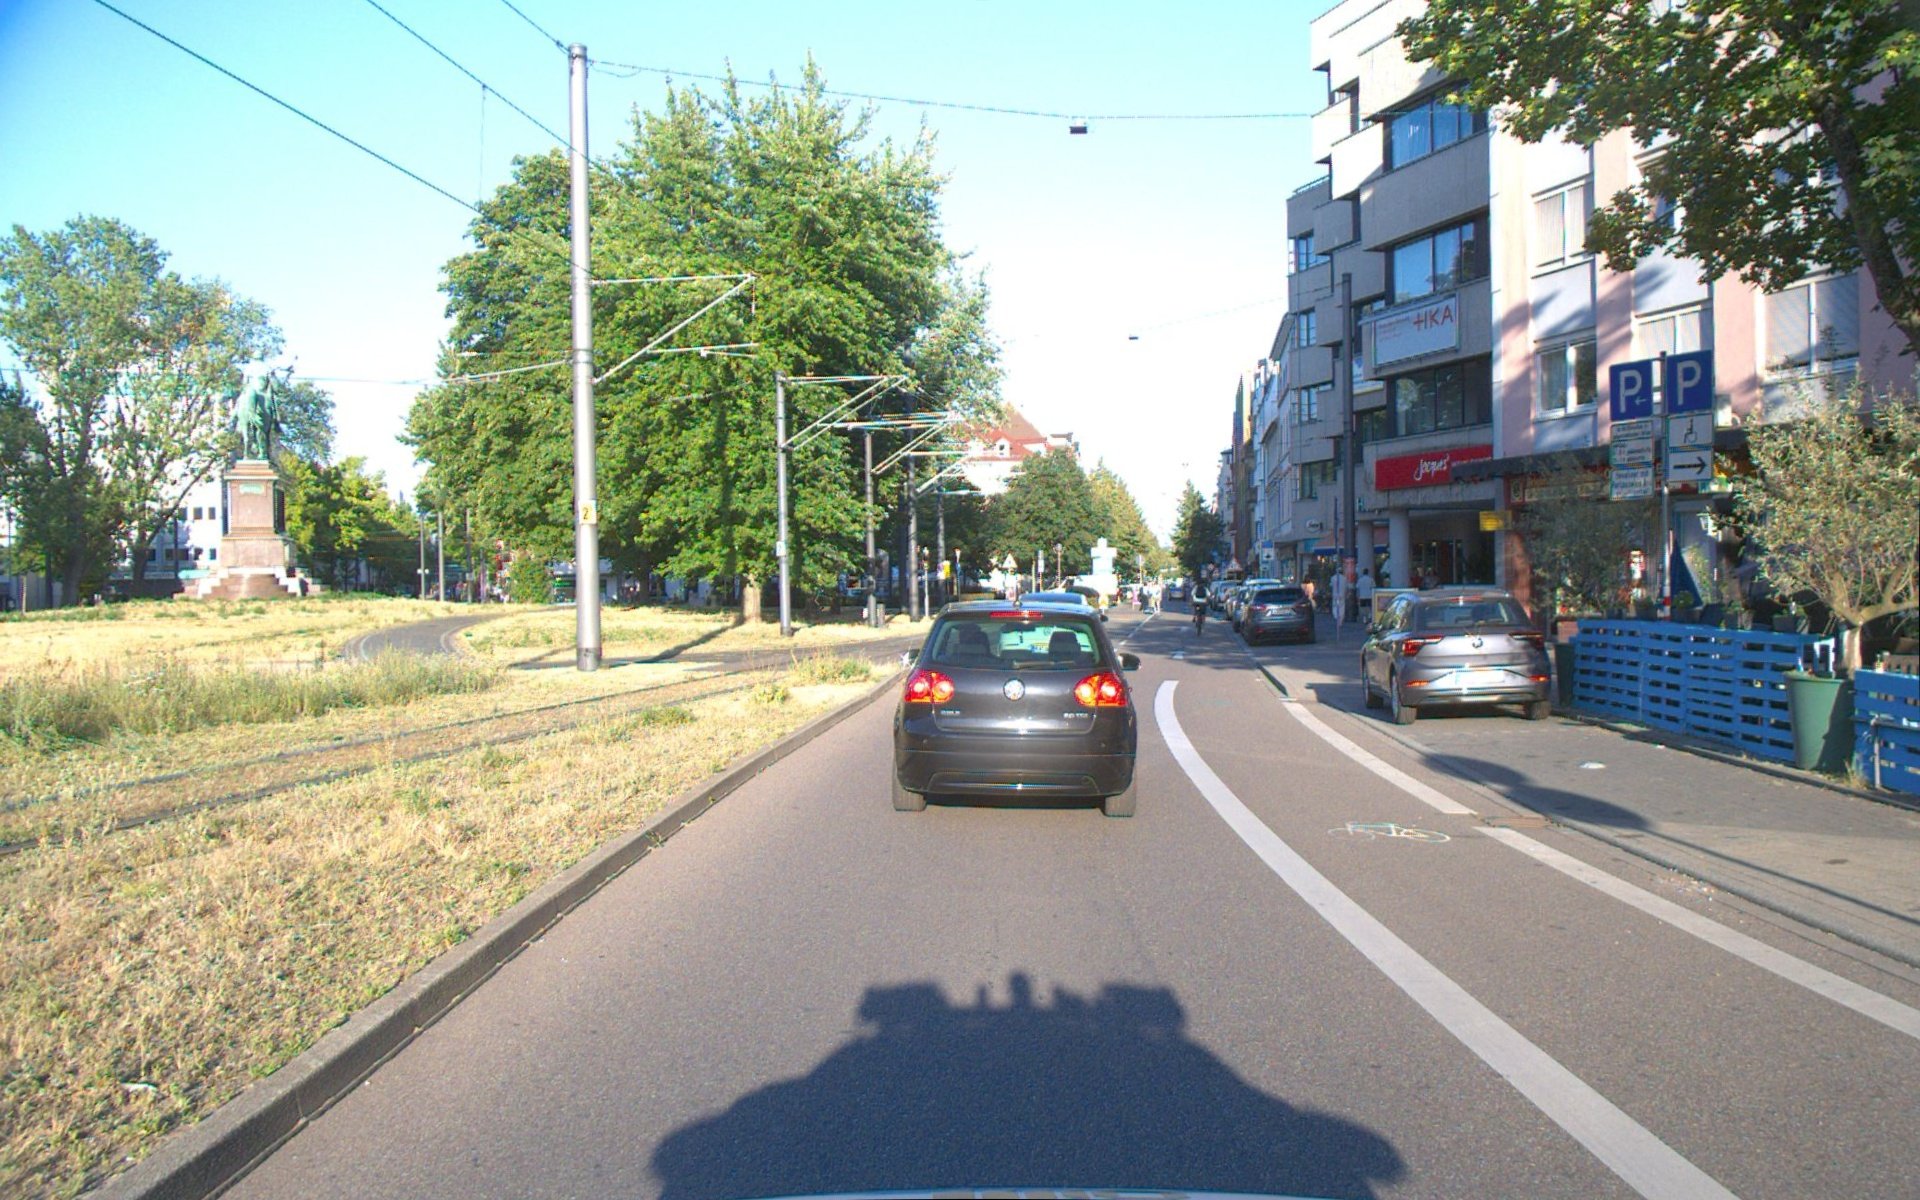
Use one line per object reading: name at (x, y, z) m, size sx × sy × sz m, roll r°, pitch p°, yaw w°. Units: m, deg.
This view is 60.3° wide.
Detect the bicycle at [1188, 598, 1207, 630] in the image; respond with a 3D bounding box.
bicycle at (7.514, 0.434, 52.396) m, size 0.566 × 1.004 × 1.937 m, roll 0°, pitch 0°, yaw 7°

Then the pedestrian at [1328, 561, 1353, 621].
pedestrian at (12.235, -0.281, 53.203) m, size 0.609 × 1.890 × 0.662 m, roll -3°, pitch 0°, yaw 9°

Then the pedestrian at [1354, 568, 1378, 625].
pedestrian at (13.065, -0.119, 53.239) m, size 0.609 × 1.770 × 0.662 m, roll -3°, pitch 0°, yaw 9°

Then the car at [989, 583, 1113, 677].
car at (1.666, 0.466, 28.831) m, size 1.825 × 1.466 × 4.201 m, roll -1°, pitch 1°, yaw 7°

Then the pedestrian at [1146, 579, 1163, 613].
pedestrian at (10.151, -0.211, 86.352) m, size 0.842 × 1.736 × 0.941 m, roll 0°, pitch 0°, yaw 1°

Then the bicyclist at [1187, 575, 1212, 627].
bicyclist at (7.579, 0.028, 52.286) m, size 0.760 × 1.646 × 1.026 m, roll 0°, pitch 0°, yaw 7°

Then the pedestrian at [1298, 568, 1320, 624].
pedestrian at (11.296, -0.130, 53.577) m, size 0.566 × 1.790 × 0.662 m, roll -3°, pitch 0°, yaw 9°

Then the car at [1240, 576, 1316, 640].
car at (8.620, 0.188, 45.121) m, size 1.744 × 1.583 × 4.238 m, roll -3°, pitch 0°, yaw 8°

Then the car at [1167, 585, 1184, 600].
car at (24.085, -0.862, 184.741) m, size 1.866 × 1.579 × 4.003 m, roll -1°, pitch 1°, yaw 7°

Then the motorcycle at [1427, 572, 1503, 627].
motorcycle at (13.069, -0.014, 42.852) m, size 1.748 × 1.354 × 0.583 m, roll -3°, pitch 0°, yaw -5°

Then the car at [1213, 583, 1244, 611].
car at (16.645, -0.185, 102.496) m, size 1.698 × 1.645 × 3.920 m, roll -2°, pitch 0°, yaw 7°

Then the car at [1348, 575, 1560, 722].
car at (5.772, 0.506, 19.759) m, size 1.691 × 1.497 × 3.902 m, roll -3°, pitch 0°, yaw 7°

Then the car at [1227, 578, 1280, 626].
car at (9.890, 0.046, 55.809) m, size 1.626 × 1.466 × 3.858 m, roll -3°, pitch 0°, yaw 10°

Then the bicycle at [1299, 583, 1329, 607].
bicycle at (18.429, -0.270, 86.153) m, size 0.509 × 1.138 × 1.504 m, roll -4°, pitch -1°, yaw -36°

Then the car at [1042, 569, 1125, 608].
car at (8.689, -0.802, 116.107) m, size 5.427 × 2.640 × 2.143 m, roll -1°, pitch 0°, yaw -19°

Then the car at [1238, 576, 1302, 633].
car at (9.350, 0.105, 50.136) m, size 1.573 × 1.583 × 3.613 m, roll -3°, pitch 0°, yaw 6°

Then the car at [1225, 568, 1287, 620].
car at (10.975, -0.225, 61.590) m, size 1.828 × 1.743 × 4.508 m, roll -3°, pitch 0°, yaw 6°

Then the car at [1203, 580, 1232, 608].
car at (17.898, -0.406, 114.842) m, size 1.884 × 1.873 × 4.021 m, roll -2°, pitch 0°, yaw 9°

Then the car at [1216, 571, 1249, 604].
car at (16.031, -0.714, 97.363) m, size 1.698 × 1.831 × 3.920 m, roll -2°, pitch 0°, yaw 7°

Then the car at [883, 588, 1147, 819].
car at (0.559, 0.660, 12.793) m, size 1.710 × 1.486 × 4.106 m, roll 0°, pitch 0°, yaw 6°

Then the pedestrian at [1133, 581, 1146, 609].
pedestrian at (10.475, -0.287, 96.427) m, size 0.720 × 1.582 × 0.632 m, roll 0°, pitch 0°, yaw 4°

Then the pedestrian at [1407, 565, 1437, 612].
pedestrian at (17.320, -0.437, 62.076) m, size 0.968 × 1.702 × 0.642 m, roll -2°, pitch 0°, yaw 9°
